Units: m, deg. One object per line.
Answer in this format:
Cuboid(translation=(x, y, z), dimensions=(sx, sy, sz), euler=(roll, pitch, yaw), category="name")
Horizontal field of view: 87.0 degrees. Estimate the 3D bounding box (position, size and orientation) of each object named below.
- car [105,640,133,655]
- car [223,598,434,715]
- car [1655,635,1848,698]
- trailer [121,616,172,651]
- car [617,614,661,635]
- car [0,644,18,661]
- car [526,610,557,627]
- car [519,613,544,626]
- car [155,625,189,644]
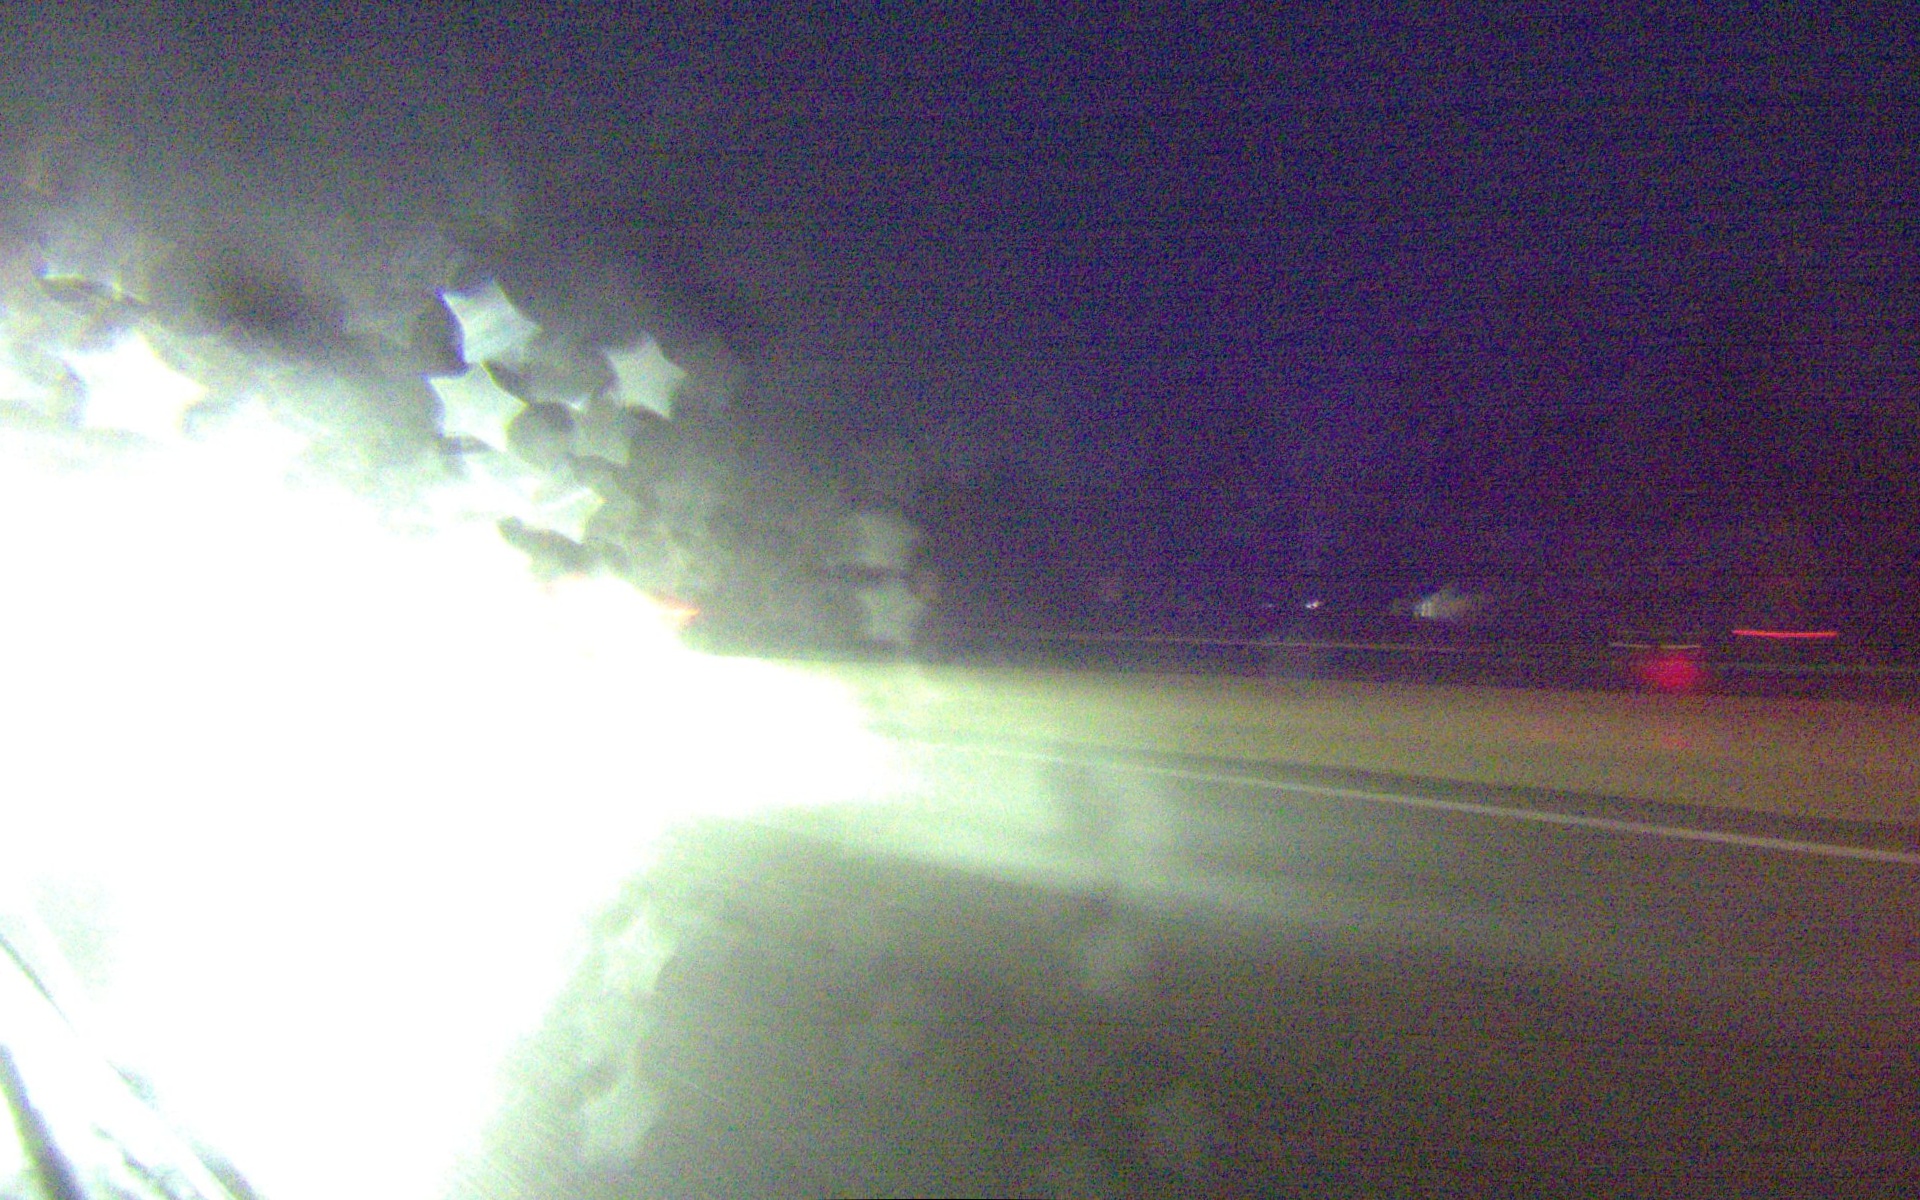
Cuboid(translation=(-93.225, 5.250, 112.204), dimensions=(4.292, 1.538, 1.819), euler=(0, -3, 43), category="car")
Cuboid(translation=(-12.117, 0.929, 19.216), dimensions=(5.557, 1.898, 2.113), euler=(0, -1, 44), category="car")
Cuboid(translation=(25.203, 2.063, 32.332), dimensions=(1.970, 1.785, 4.574), euler=(-1, -1, -43), category="car")
Cuboid(translation=(-102.496, 4.163, 127.377), dimensions=(13.930, 4.029, 2.782), euler=(0, -3, 43), category="trailer")
Cuboid(translation=(-28.663, 2.219, 90.310), dimensions=(1.970, 1.785, 4.574), euler=(-1, -1, -43), category="car")
Cuboid(translation=(-75.259, 4.138, 79.294), dimensions=(3.989, 1.304, 1.689), euler=(-3, -5, 41), category="car")
Cuboid(translation=(-50.219, 2.189, 121.459), dimensions=(1.969, 1.947, 4.692), euler=(-1, -1, -41), category="car")
Cuboid(translation=(-47.380, 2.130, 111.821), dimensions=(1.747, 1.416, 3.247), euler=(-1, -1, -39), category="car")
Cuboid(translation=(-72.651, 3.164, 93.303), dimensions=(4.292, 1.538, 1.713), euler=(0, -3, 43), category="car")
